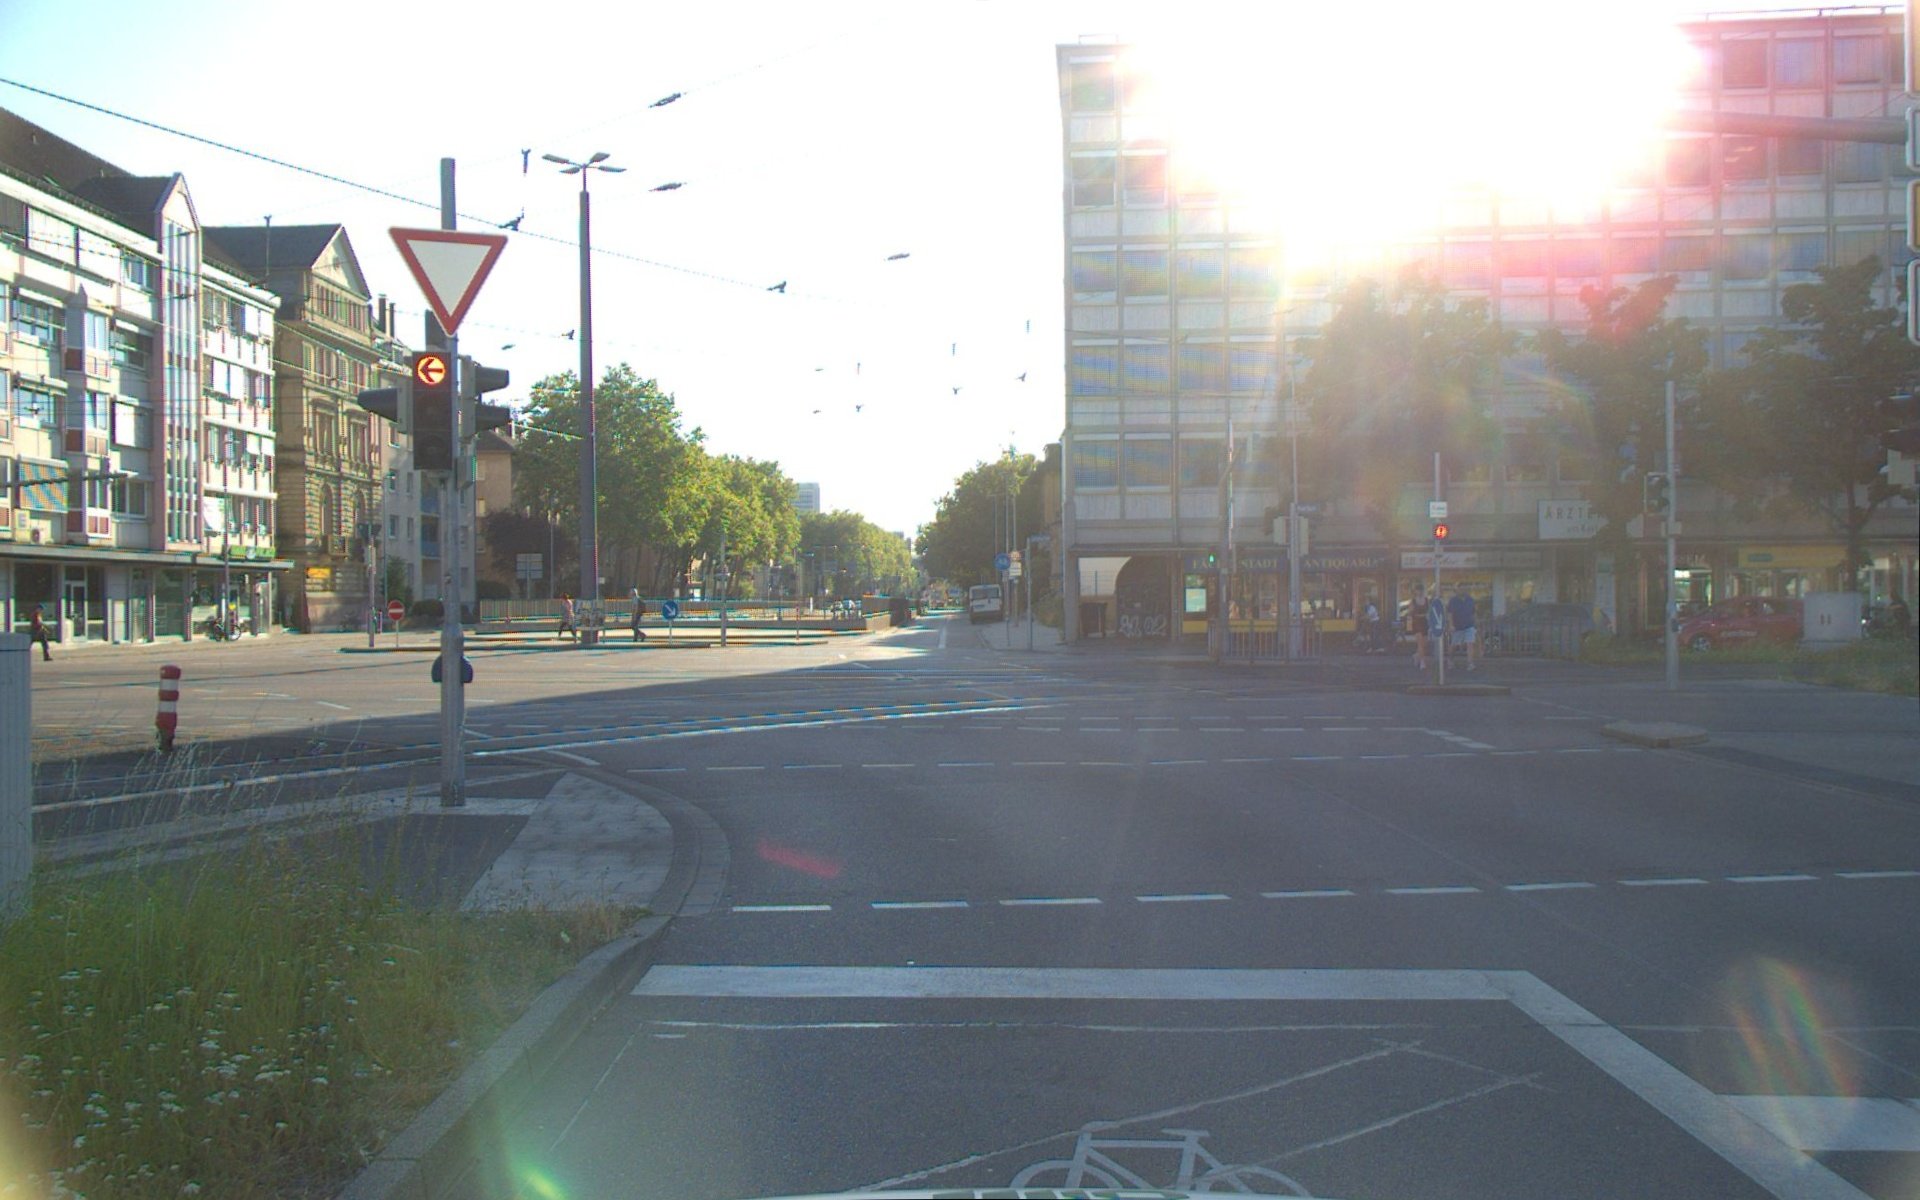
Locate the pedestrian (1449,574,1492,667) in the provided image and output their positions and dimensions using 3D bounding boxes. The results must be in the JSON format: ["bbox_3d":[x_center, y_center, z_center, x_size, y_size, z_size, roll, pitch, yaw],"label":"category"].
[{"bbox_3d":[10.272,0.410,33.326,0.680,1.824,1.043,1,-1,10],"label":"pedestrian"}]

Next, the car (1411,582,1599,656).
[{"bbox_3d":[12.859,0.451,39.213,3.903,1.646,1.845,1,0,4],"label":"car"}]

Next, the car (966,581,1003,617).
[{"bbox_3d":[1.562,-0.049,103.930,2.238,2.210,4.834,1,0,1],"label":"car"}]

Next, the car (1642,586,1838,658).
[{"bbox_3d":[18.911,0.531,40.248,3.903,1.646,1.845,1,0,4],"label":"car"}]

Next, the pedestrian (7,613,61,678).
[{"bbox_3d":[-29.252,1.441,52.252,1.171,1.915,0.856,1,6,-5],"label":"pedestrian"}]

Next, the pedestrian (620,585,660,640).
[{"bbox_3d":[-10.486,0.406,54.203,1.171,1.761,0.855,1,-1,-5],"label":"pedestrian"}]

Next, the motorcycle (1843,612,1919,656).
[{"bbox_3d":[22.884,0.824,40.084,2.606,1.019,0.535,1,0,4],"label":"motorcycle"}]

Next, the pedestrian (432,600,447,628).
[{"bbox_3d":[-32.410,0.862,102.968,0.681,1.725,0.724,1,-1,-1],"label":"pedestrian"}]

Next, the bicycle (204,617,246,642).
[{"bbox_3d":[-32.437,1.292,73.018,0.441,1.089,2.093,1,0,16],"label":"bicycle"}]

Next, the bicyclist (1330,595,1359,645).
[{"bbox_3d":[11.233,0.585,48.376,0.665,1.449,0.671,1,-1,-2],"label":"bicyclist"}]

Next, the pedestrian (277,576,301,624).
[{"bbox_3d":[-34.514,0.002,85.070,0.910,2.440,0.958,1,-1,-11],"label":"pedestrian"}]

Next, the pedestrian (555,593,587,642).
[{"bbox_3d":[-12.157,0.553,51.678,0.844,1.491,0.679,1,-6,-30],"label":"pedestrian"}]

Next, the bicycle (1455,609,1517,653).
[{"bbox_3d":[15.759,0.914,49.604,0.735,1.163,2.638,1,2,-6],"label":"bicycle"}]

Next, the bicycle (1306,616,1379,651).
[{"bbox_3d":[11.184,0.979,48.376,1.983,0.957,0.671,1,0,-2],"label":"bicycle"}]

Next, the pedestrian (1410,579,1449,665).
[{"bbox_3d":[9.522,0.447,33.563,0.680,1.712,1.043,1,-1,12],"label":"pedestrian"}]

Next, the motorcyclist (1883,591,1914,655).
[{"bbox_3d":[22.744,0.563,40.099,0.451,1.535,0.535,1,-1,4],"label":"motorcyclist"}]

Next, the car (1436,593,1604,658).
[{"bbox_3d":[15.128,0.684,44.834,3.982,1.646,1.845,1,0,4],"label":"car"}]

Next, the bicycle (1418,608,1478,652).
[{"bbox_3d":[14.588,0.885,49.540,0.735,1.163,2.638,1,2,-6],"label":"bicycle"}]
